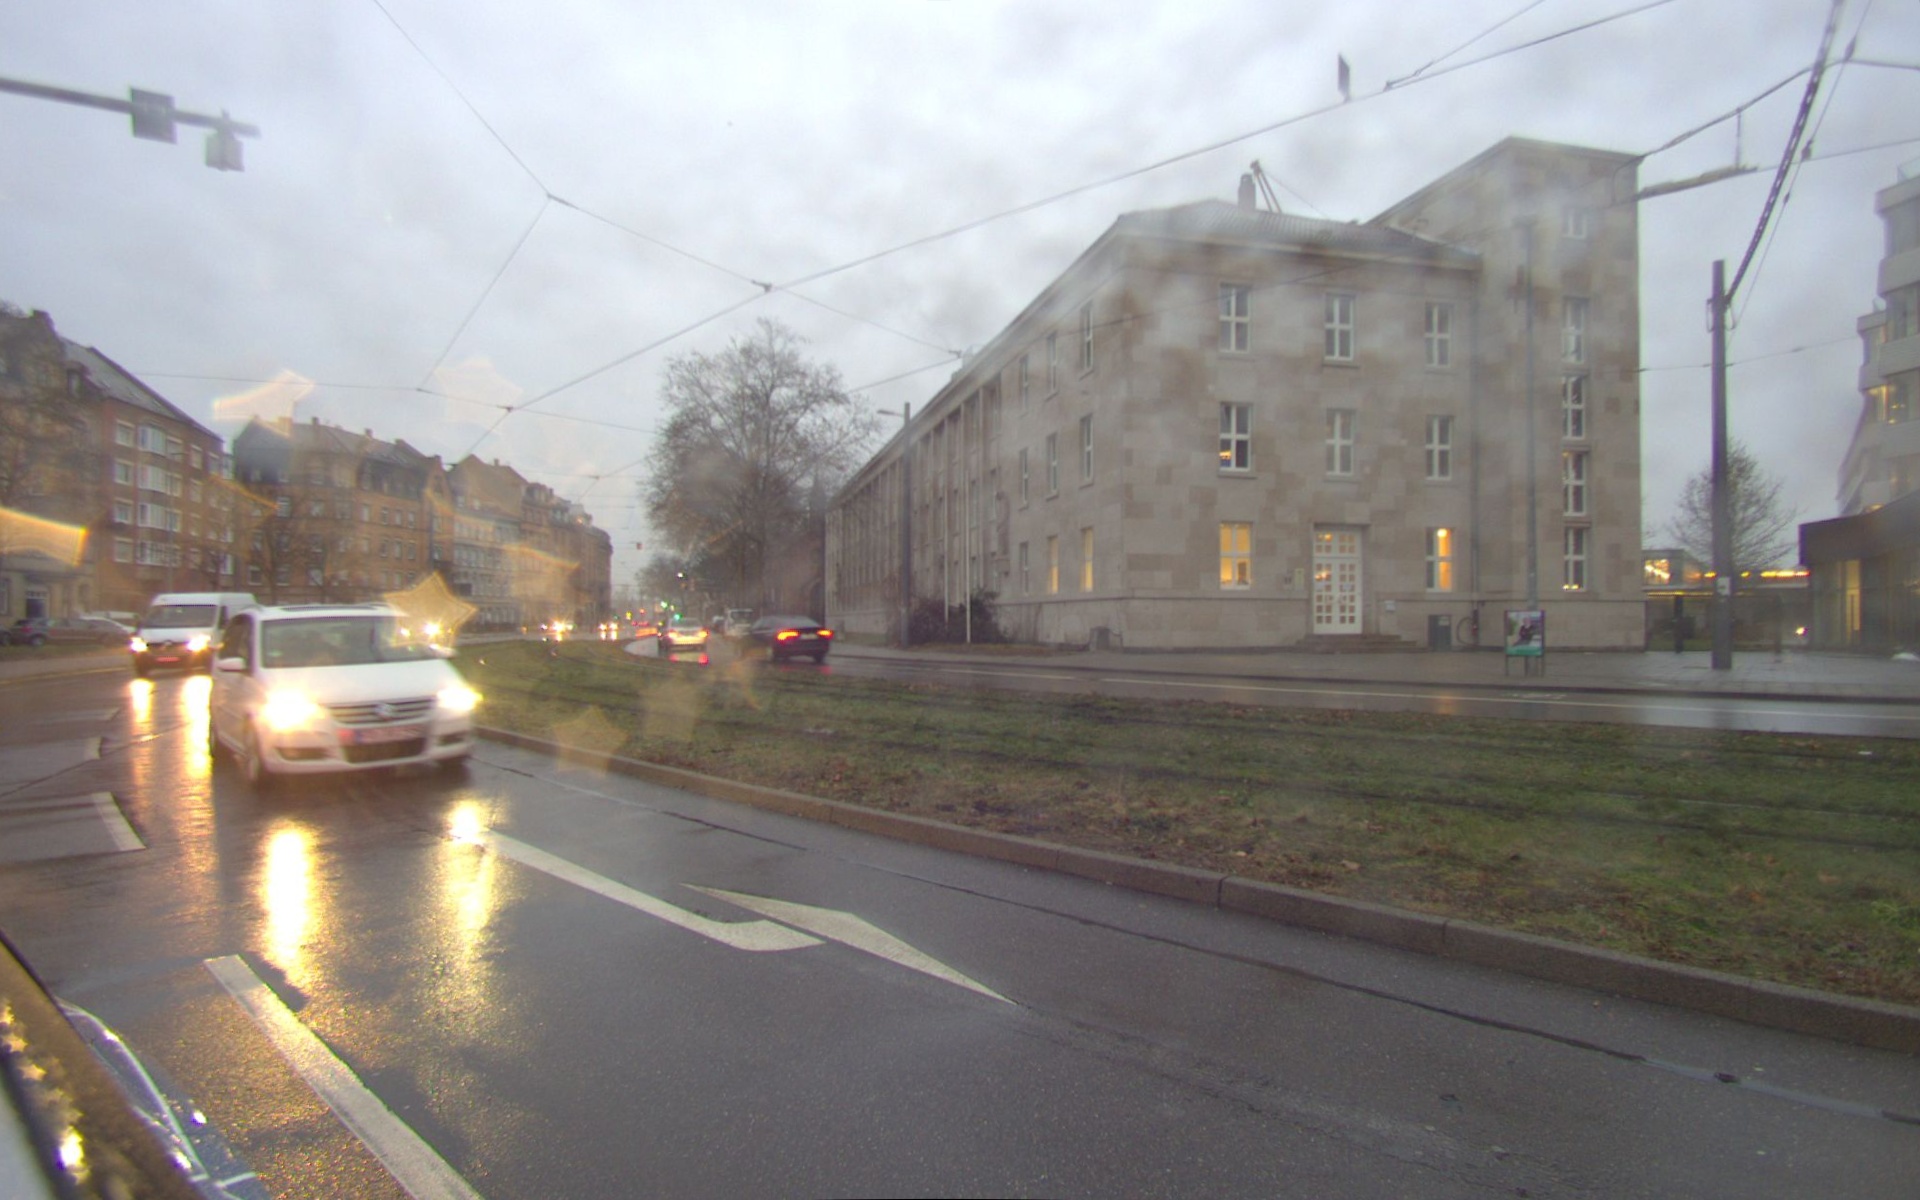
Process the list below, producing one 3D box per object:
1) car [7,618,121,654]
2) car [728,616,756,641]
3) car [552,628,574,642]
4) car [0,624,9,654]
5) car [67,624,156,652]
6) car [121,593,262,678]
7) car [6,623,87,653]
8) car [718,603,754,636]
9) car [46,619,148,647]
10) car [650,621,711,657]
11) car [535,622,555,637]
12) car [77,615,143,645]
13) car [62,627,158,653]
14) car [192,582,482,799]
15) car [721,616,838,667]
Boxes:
[{"bbox_3d":[-41.126,1.633,46.501,3.816,1.416,1.696,-2,0,-43],"label":"car"},{"bbox_3d":[-13.333,1.727,61.820,1.535,1.439,2.963,0,0,-14],"label":"car"},{"bbox_3d":[-43.249,3.826,110.394,1.865,1.424,3.958,0,-2,-17],"label":"car"},{"bbox_3d":[-50.756,2.020,51.652,1.449,1.555,3.881,0,-2,-12],"label":"car"},{"bbox_3d":[-46.744,2.066,55.834,3.706,1.364,1.605,-2,0,-39],"label":"car"},{"bbox_3d":[-24.118,1.061,32.024,2.094,2.398,5.657,-2,0,-22],"label":"car"},{"bbox_3d":[-52.243,2.132,57.973,1.666,1.554,4.010,-2,0,-12],"label":"car"},{"bbox_3d":[-14.688,1.256,66.241,1.966,2.029,4.522,-2,0,-15],"label":"car"},{"bbox_3d":[-41.994,1.600,49.370,3.706,1.342,1.605,1,-1,-39],"label":"car"},{"bbox_3d":[-12.590,1.711,45.384,1.795,1.446,4.670,-2,0,-26],"label":"car"},{"bbox_3d":[-45.998,3.278,112.231,1.694,1.630,3.950,0,-2,-17],"label":"car"},{"bbox_3d":[-53.378,1.858,63.647,1.648,1.716,3.473,-2,0,-10],"label":"car"},{"bbox_3d":[-44.223,2.046,52.687,3.711,1.288,1.602,1,-2,-45],"label":"car"},{"bbox_3d":[-6.317,0.751,10.035,1.650,1.672,4.152,-2,0,-43],"label":"car"},{"bbox_3d":[-5.692,1.259,31.523,1.635,1.411,4.532,-2,0,-38],"label":"car"}]
